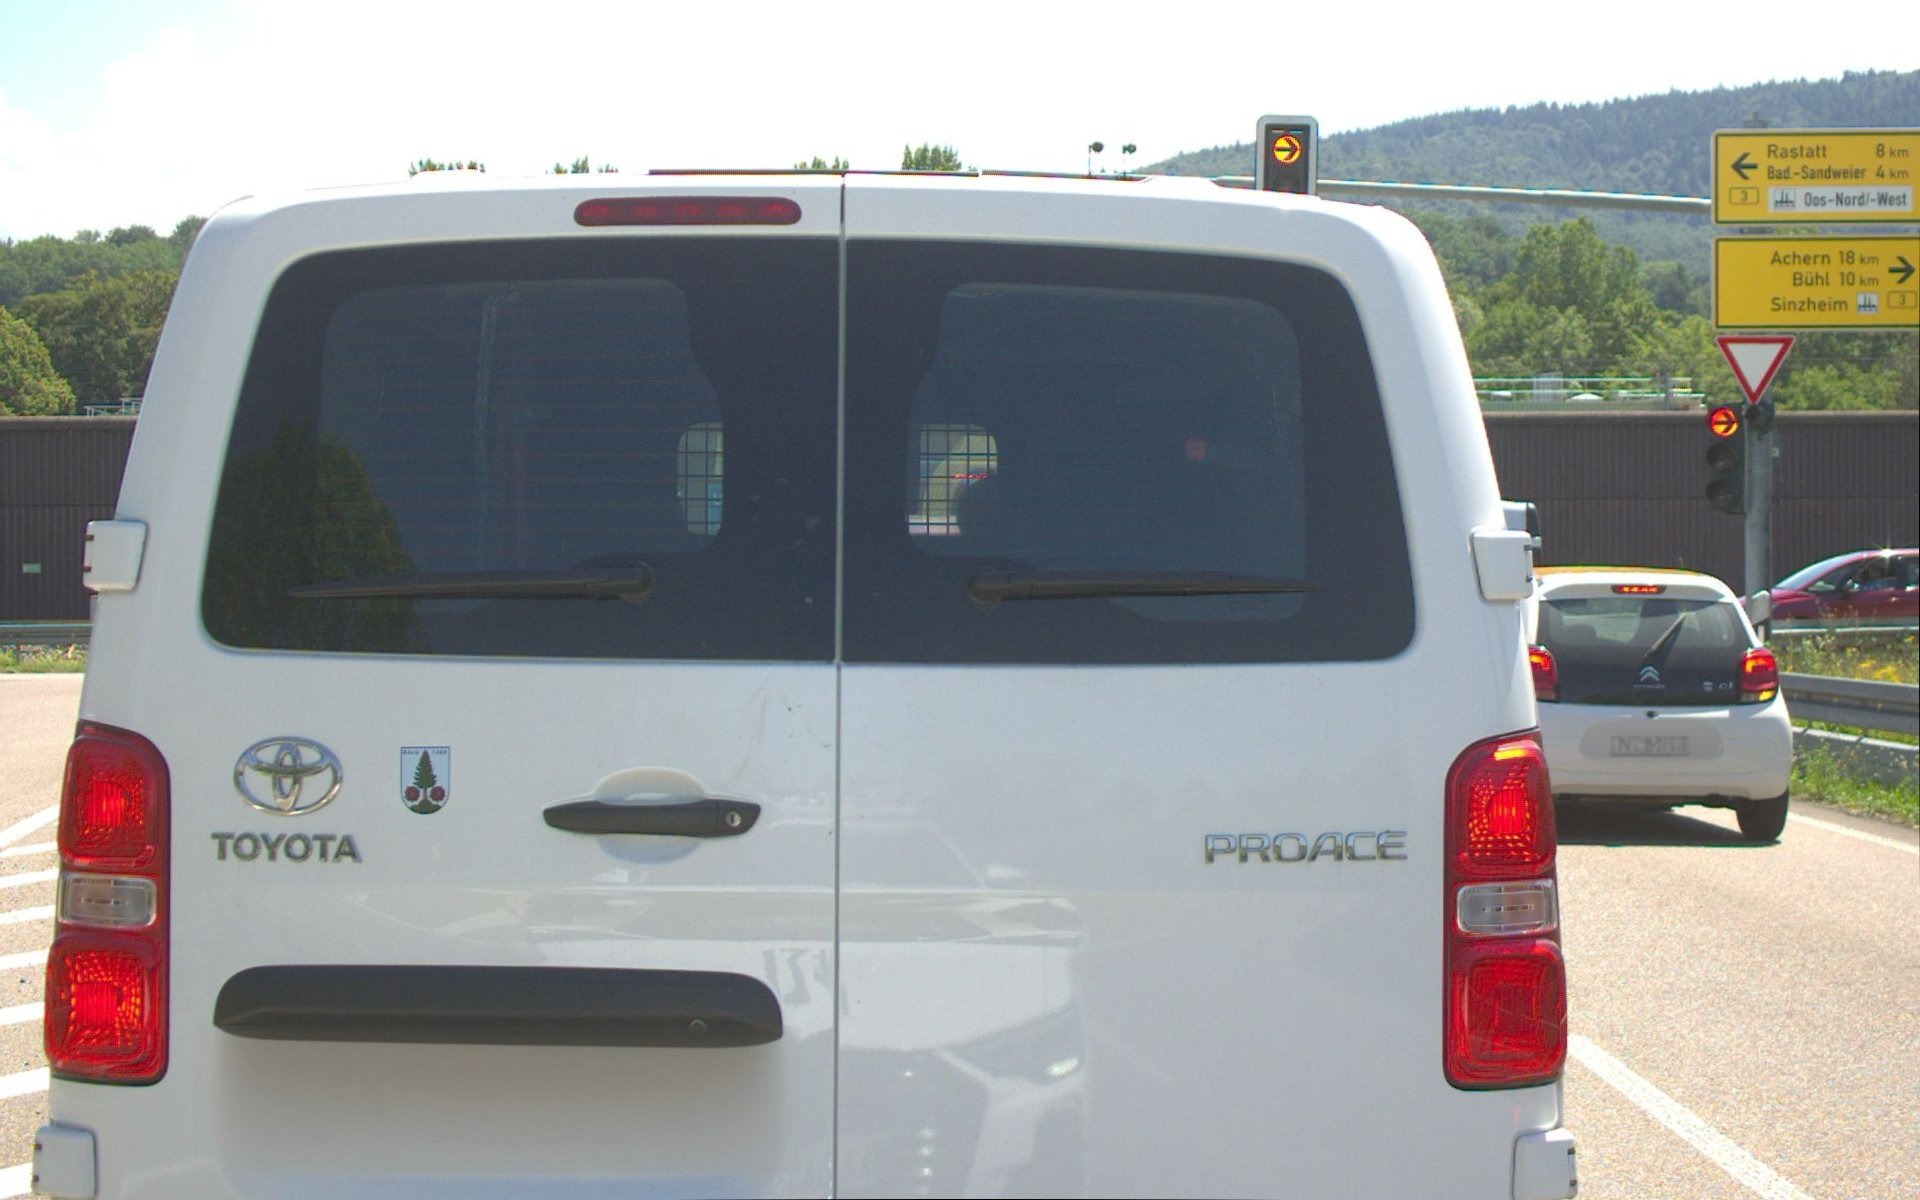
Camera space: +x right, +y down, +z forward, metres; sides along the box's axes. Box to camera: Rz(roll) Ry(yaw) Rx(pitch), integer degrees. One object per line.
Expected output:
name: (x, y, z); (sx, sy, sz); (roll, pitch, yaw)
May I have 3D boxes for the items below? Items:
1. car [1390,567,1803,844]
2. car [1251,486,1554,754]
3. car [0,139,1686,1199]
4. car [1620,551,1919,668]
car: (3.534, 0.535, 19.635); (1.656, 1.426, 3.366); (1, 1, -1)
car: (3.526, 0.124, 28.220); (1.928, 1.993, 4.837); (1, 1, 1)
car: (-0.221, 0.441, 5.650); (1.886, 1.880, 4.000); (1, 1, -1)
car: (11.947, 0.123, 49.844); (4.309, 1.651, 2.000); (0, 1, -3)
